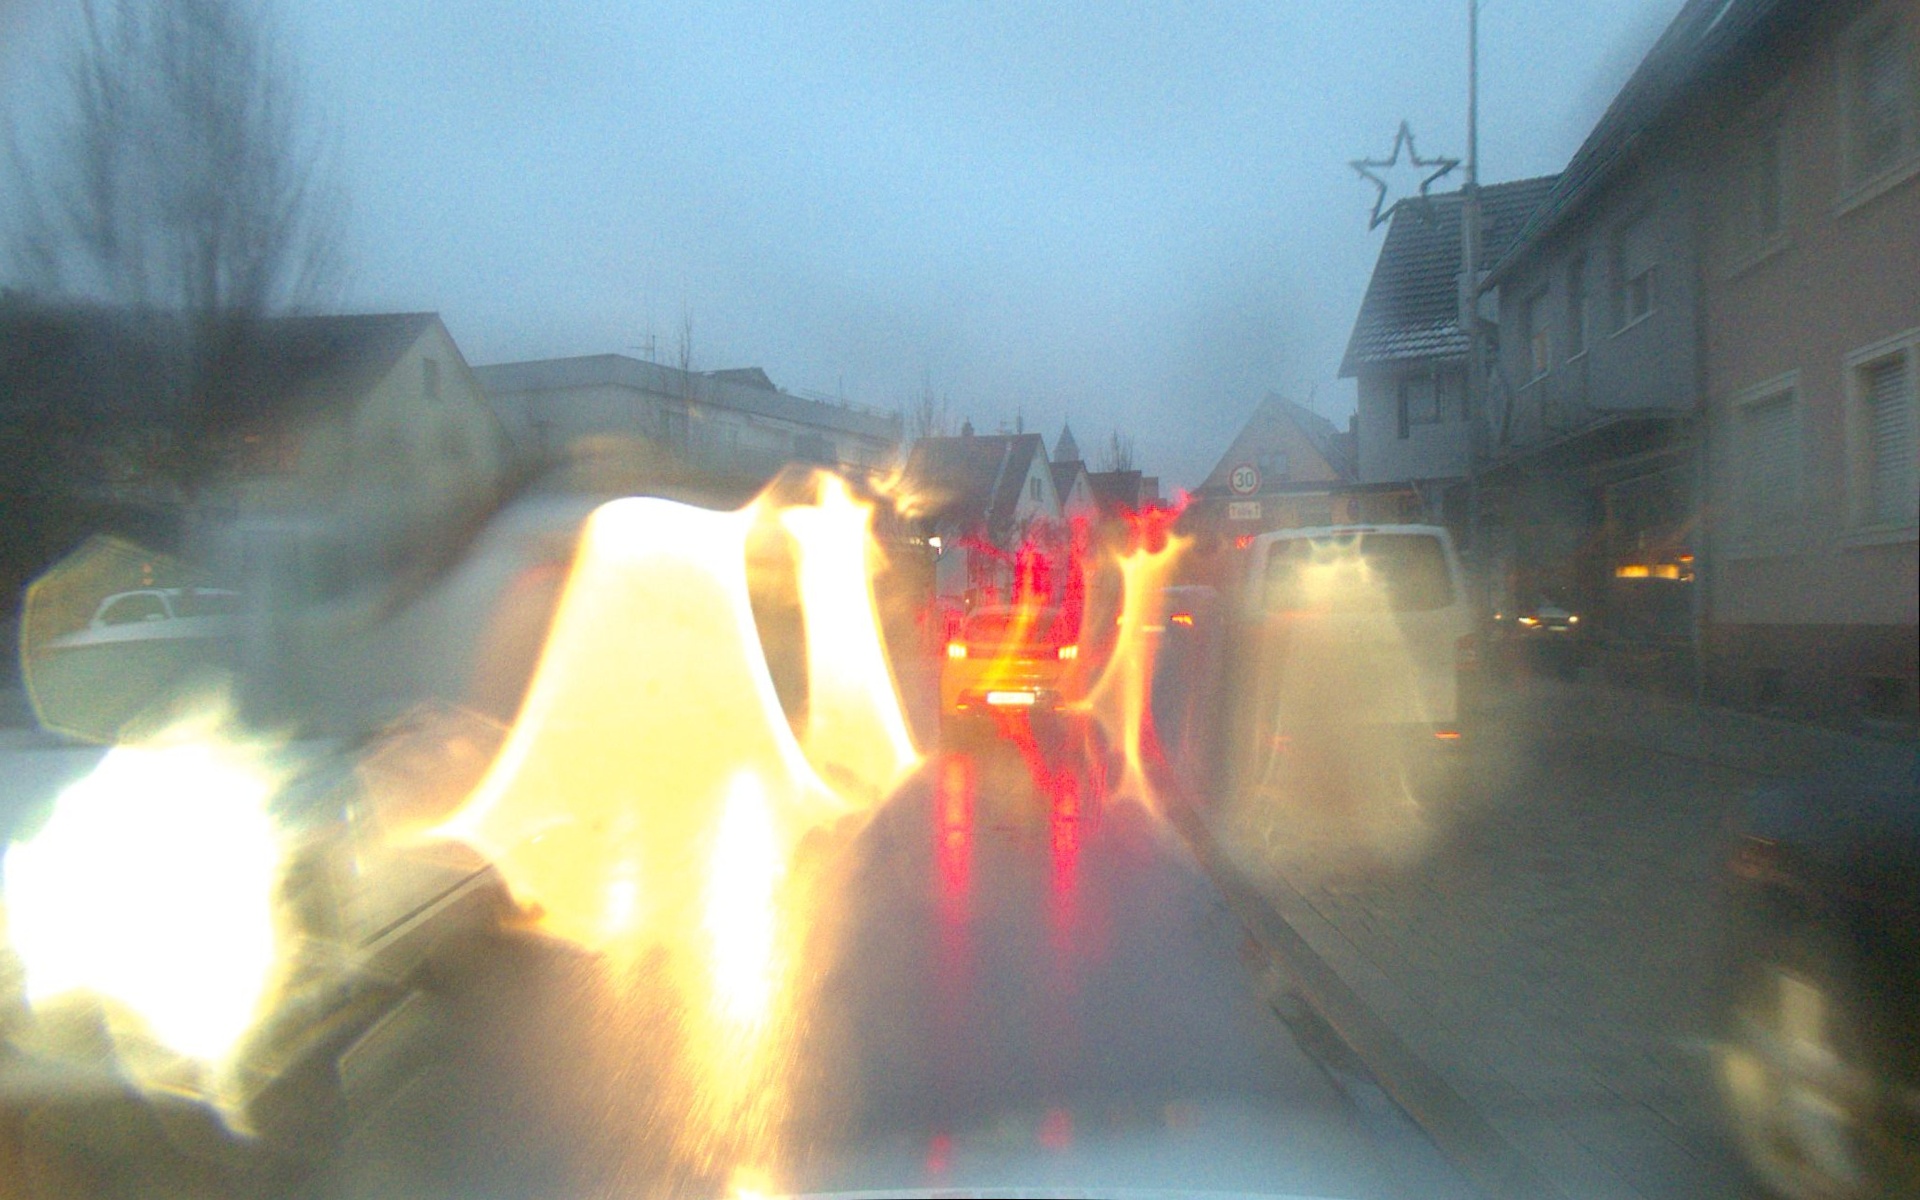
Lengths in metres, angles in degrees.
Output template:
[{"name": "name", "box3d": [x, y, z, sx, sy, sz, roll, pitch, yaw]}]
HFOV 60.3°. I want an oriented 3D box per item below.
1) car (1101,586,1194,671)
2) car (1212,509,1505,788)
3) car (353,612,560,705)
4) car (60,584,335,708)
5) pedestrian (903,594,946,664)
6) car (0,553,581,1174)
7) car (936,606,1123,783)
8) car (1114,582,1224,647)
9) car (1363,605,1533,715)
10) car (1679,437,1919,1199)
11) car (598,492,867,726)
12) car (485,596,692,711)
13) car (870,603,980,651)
[{"name": "car", "box3d": [4.085, 0.586, 35.571, 1.759, 1.691, 4.003, 0, 0, 9]}, {"name": "car", "box3d": [3.236, 0.348, 14.360, 1.931, 1.994, 4.856, -1, 0, 7]}, {"name": "car", "box3d": [-9.300, 1.014, 30.421, 3.931, 1.557, 1.987, 0, 0, 44]}, {"name": "car", "box3d": [-11.487, 0.679, 24.802, 4.568, 1.683, 1.978, -2, -1, 39]}, {"name": "pedestrian", "box3d": [-0.972, 0.794, 45.406, 0.740, 1.899, 1.058, -1, -1, 31]}, {"name": "car", "box3d": [-2.896, 0.670, 6.407, 1.788, 1.545, 4.548, -1, 0, 0]}, {"name": "car", "box3d": [0.807, 1.011, 19.854, 1.952, 1.827, 4.649, -1, 0, 2]}, {"name": "car", "box3d": [6.333, 0.401, 49.635, 1.906, 1.781, 4.849, -3, -1, 24]}, {"name": "car", "box3d": [7.712, 0.904, 26.471, 1.698, 1.588, 3.664, -2, 0, 2]}, {"name": "car", "box3d": [2.864, 0.506, 2.157, 1.934, 1.690, 4.460, -1, 0, 1]}, {"name": "car", "box3d": [-2.665, 0.099, 21.131, 2.148, 2.534, 6.146, -1, 0, 4]}, {"name": "car", "box3d": [-5.396, 0.720, 24.589, 1.864, 1.560, 4.258, 0, 0, 4]}, {"name": "car", "box3d": [-1.213, 0.922, 55.854, 1.721, 1.503, 4.036, -1, -1, -36]}]
